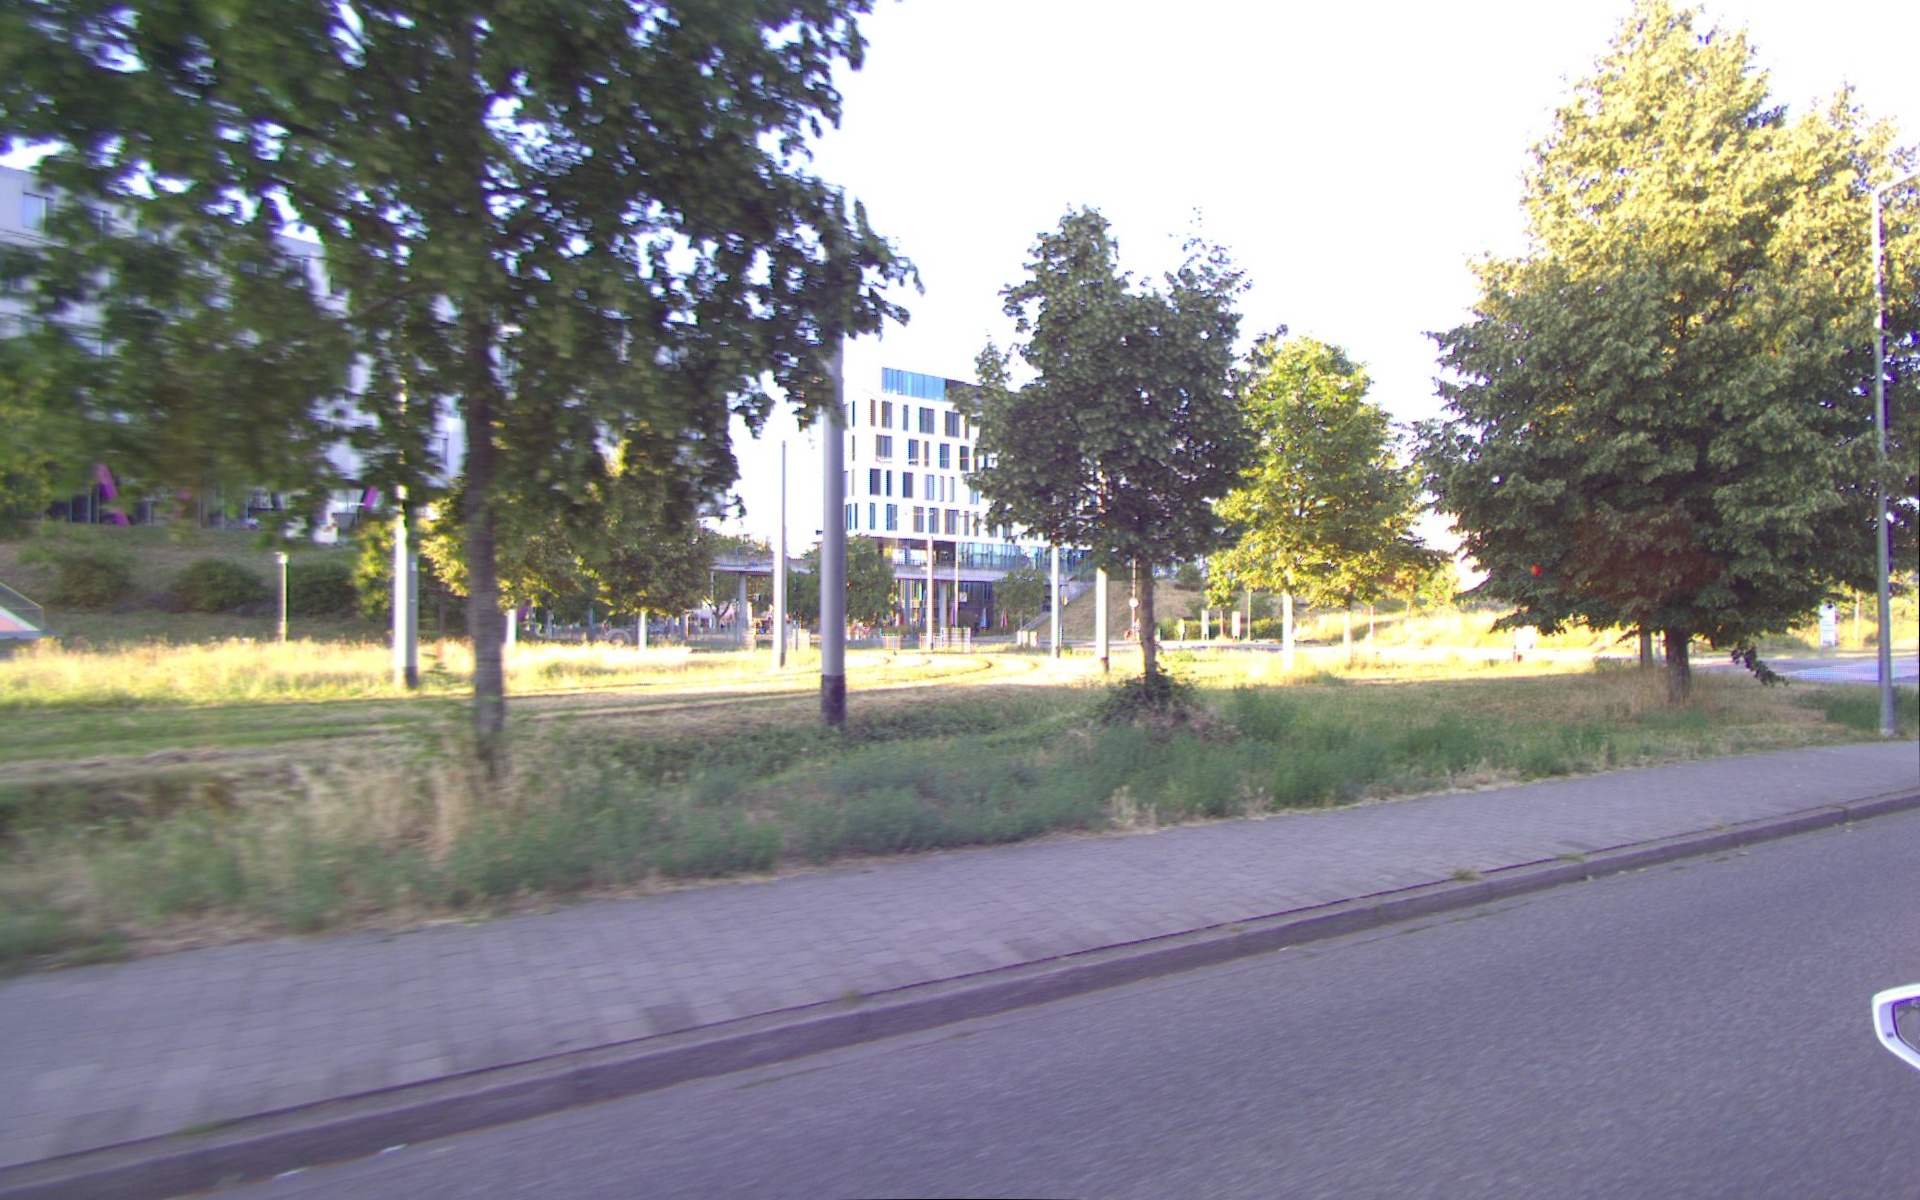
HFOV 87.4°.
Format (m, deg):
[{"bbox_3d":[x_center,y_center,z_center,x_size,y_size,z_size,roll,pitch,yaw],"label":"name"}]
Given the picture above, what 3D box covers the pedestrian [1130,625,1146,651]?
[{"bbox_3d":[12.601,2.695,71.052,0.803,1.810,0.784,1,-1,-27],"label":"pedestrian"}]
